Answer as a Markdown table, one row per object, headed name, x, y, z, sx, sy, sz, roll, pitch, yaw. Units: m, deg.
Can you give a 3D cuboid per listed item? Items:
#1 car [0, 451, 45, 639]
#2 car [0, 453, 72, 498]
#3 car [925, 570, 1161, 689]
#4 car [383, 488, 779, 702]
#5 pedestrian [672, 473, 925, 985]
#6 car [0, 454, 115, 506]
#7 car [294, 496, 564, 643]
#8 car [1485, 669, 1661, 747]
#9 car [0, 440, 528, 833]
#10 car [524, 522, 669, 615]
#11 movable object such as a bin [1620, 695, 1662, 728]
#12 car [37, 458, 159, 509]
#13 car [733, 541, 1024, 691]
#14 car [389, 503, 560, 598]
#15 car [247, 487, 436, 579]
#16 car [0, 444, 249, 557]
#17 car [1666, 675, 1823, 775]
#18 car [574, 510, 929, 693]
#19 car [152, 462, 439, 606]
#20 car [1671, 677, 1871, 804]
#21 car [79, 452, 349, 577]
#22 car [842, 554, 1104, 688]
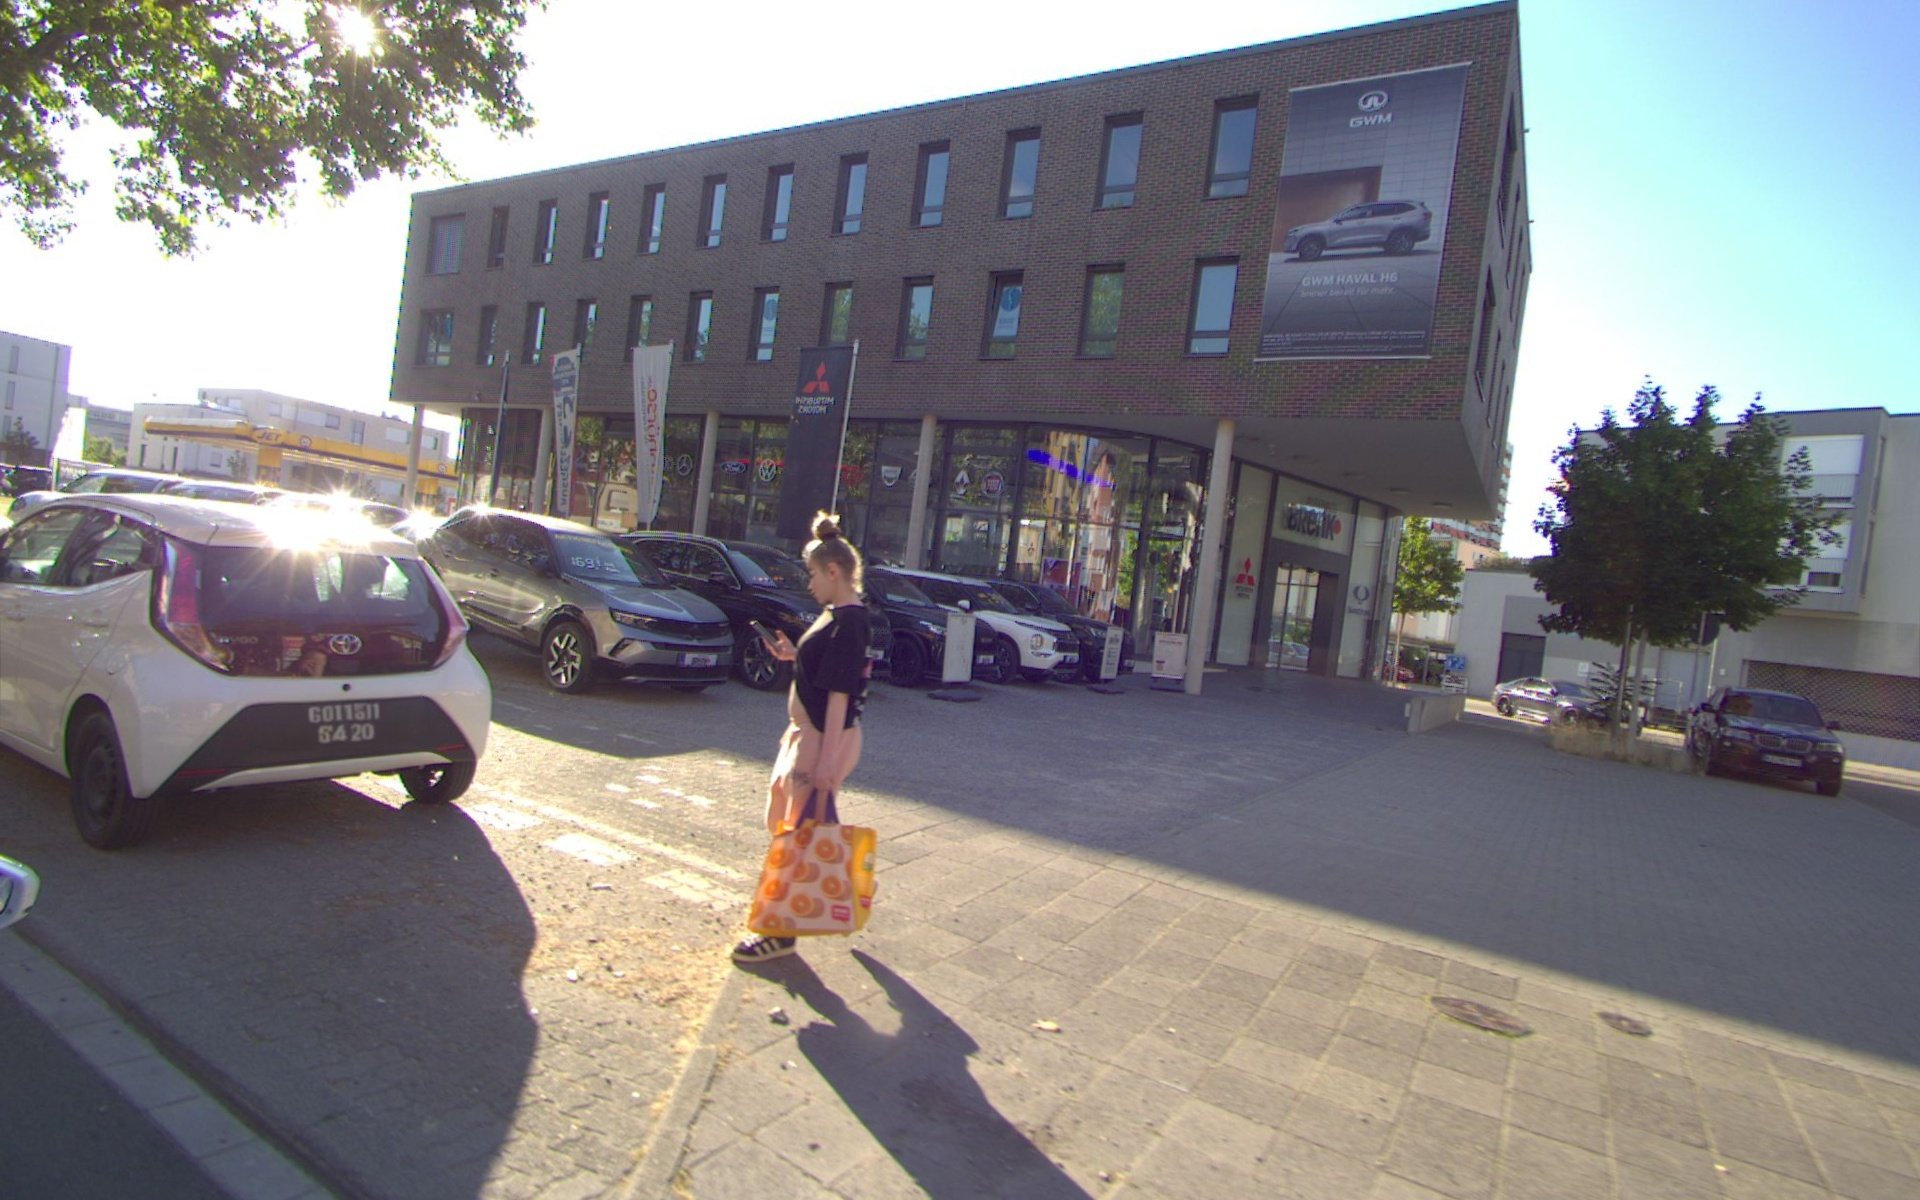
| name | x | y | z | sx | sy | sz | roll | pitch | yaw |
| --- | --- | --- | --- | --- | --- | --- | --- | --- | --- |
| car | -10.188 | -0.703 | 9.035 | 4.508 | 1.560 | 1.810 | 7 | 3 | 33 |
| car | -45.286 | -6.071 | 48.095 | 1.806 | 1.733 | 3.838 | 7 | 1 | 14 |
| car | 1.635 | 0.570 | 20.234 | 4.112 | 1.755 | 1.987 | 8 | 1 | 33 |
| car | -4.170 | -0.105 | 10.881 | 4.089 | 1.691 | 1.754 | 8 | 1 | 32 |
| pedestrian | -0.615 | 0.464 | 3.889 | 0.682 | 1.745 | 0.720 | 7 | 2 | -9 |
| car | -41.172 | -5.416 | 45.800 | 1.806 | 1.733 | 3.837 | 7 | 1 | 5 |
| car | -7.133 | -0.378 | 13.996 | 1.632 | 1.564 | 3.817 | 7 | 1 | -1 |
| car | 18.088 | 3.139 | 30.020 | 1.767 | 1.517 | 4.869 | 7 | 1 | -6 |
| car | -4.428 | -0.012 | 5.600 | 3.954 | 1.487 | 1.636 | 7 | 2 | 31 |
| car | -7.328 | -0.636 | 20.654 | 1.614 | 1.530 | 3.814 | 7 | 1 | -3 |
| movable object such as a bin | 26.127 | 4.281 | 38.607 | 0.979 | 1.086 | 0.912 | 7 | 3 | -36 |
| car | -37.317 | -5.010 | 43.684 | 1.666 | 1.609 | 3.837 | 7 | 1 | 5 |
| car | -1.307 | 0.214 | 15.625 | 4.109 | 1.706 | 1.729 | 8 | 1 | 30 |
| car | -9.631 | -0.956 | 20.280 | 1.614 | 1.530 | 3.814 | 7 | 1 | -3 |
| car | -12.792 | -1.327 | 21.087 | 1.614 | 1.530 | 3.814 | 7 | 1 | -3 |
| car | -15.153 | -1.713 | 18.368 | 1.716 | 1.599 | 3.813 | 7 | 1 | -5 |
| car | 17.826 | 2.750 | 23.107 | 1.996 | 1.684 | 4.488 | 9 | 2 | 29 |
| car | -2.798 | -0.020 | 13.232 | 4.293 | 1.753 | 1.828 | 8 | 1 | 30 |
| car | -9.548 | -0.899 | 14.866 | 1.710 | 1.630 | 3.814 | 7 | 1 | -3 |
| car | 14.908 | 2.473 | 18.797 | 1.996 | 1.684 | 4.488 | 9 | 2 | 30 |
| car | -12.057 | -1.306 | 16.613 | 1.711 | 1.599 | 3.813 | 7 | 1 | -5 |
| car | 0.202 | 0.353 | 17.922 | 4.109 | 1.755 | 1.878 | 8 | 1 | 30 |
